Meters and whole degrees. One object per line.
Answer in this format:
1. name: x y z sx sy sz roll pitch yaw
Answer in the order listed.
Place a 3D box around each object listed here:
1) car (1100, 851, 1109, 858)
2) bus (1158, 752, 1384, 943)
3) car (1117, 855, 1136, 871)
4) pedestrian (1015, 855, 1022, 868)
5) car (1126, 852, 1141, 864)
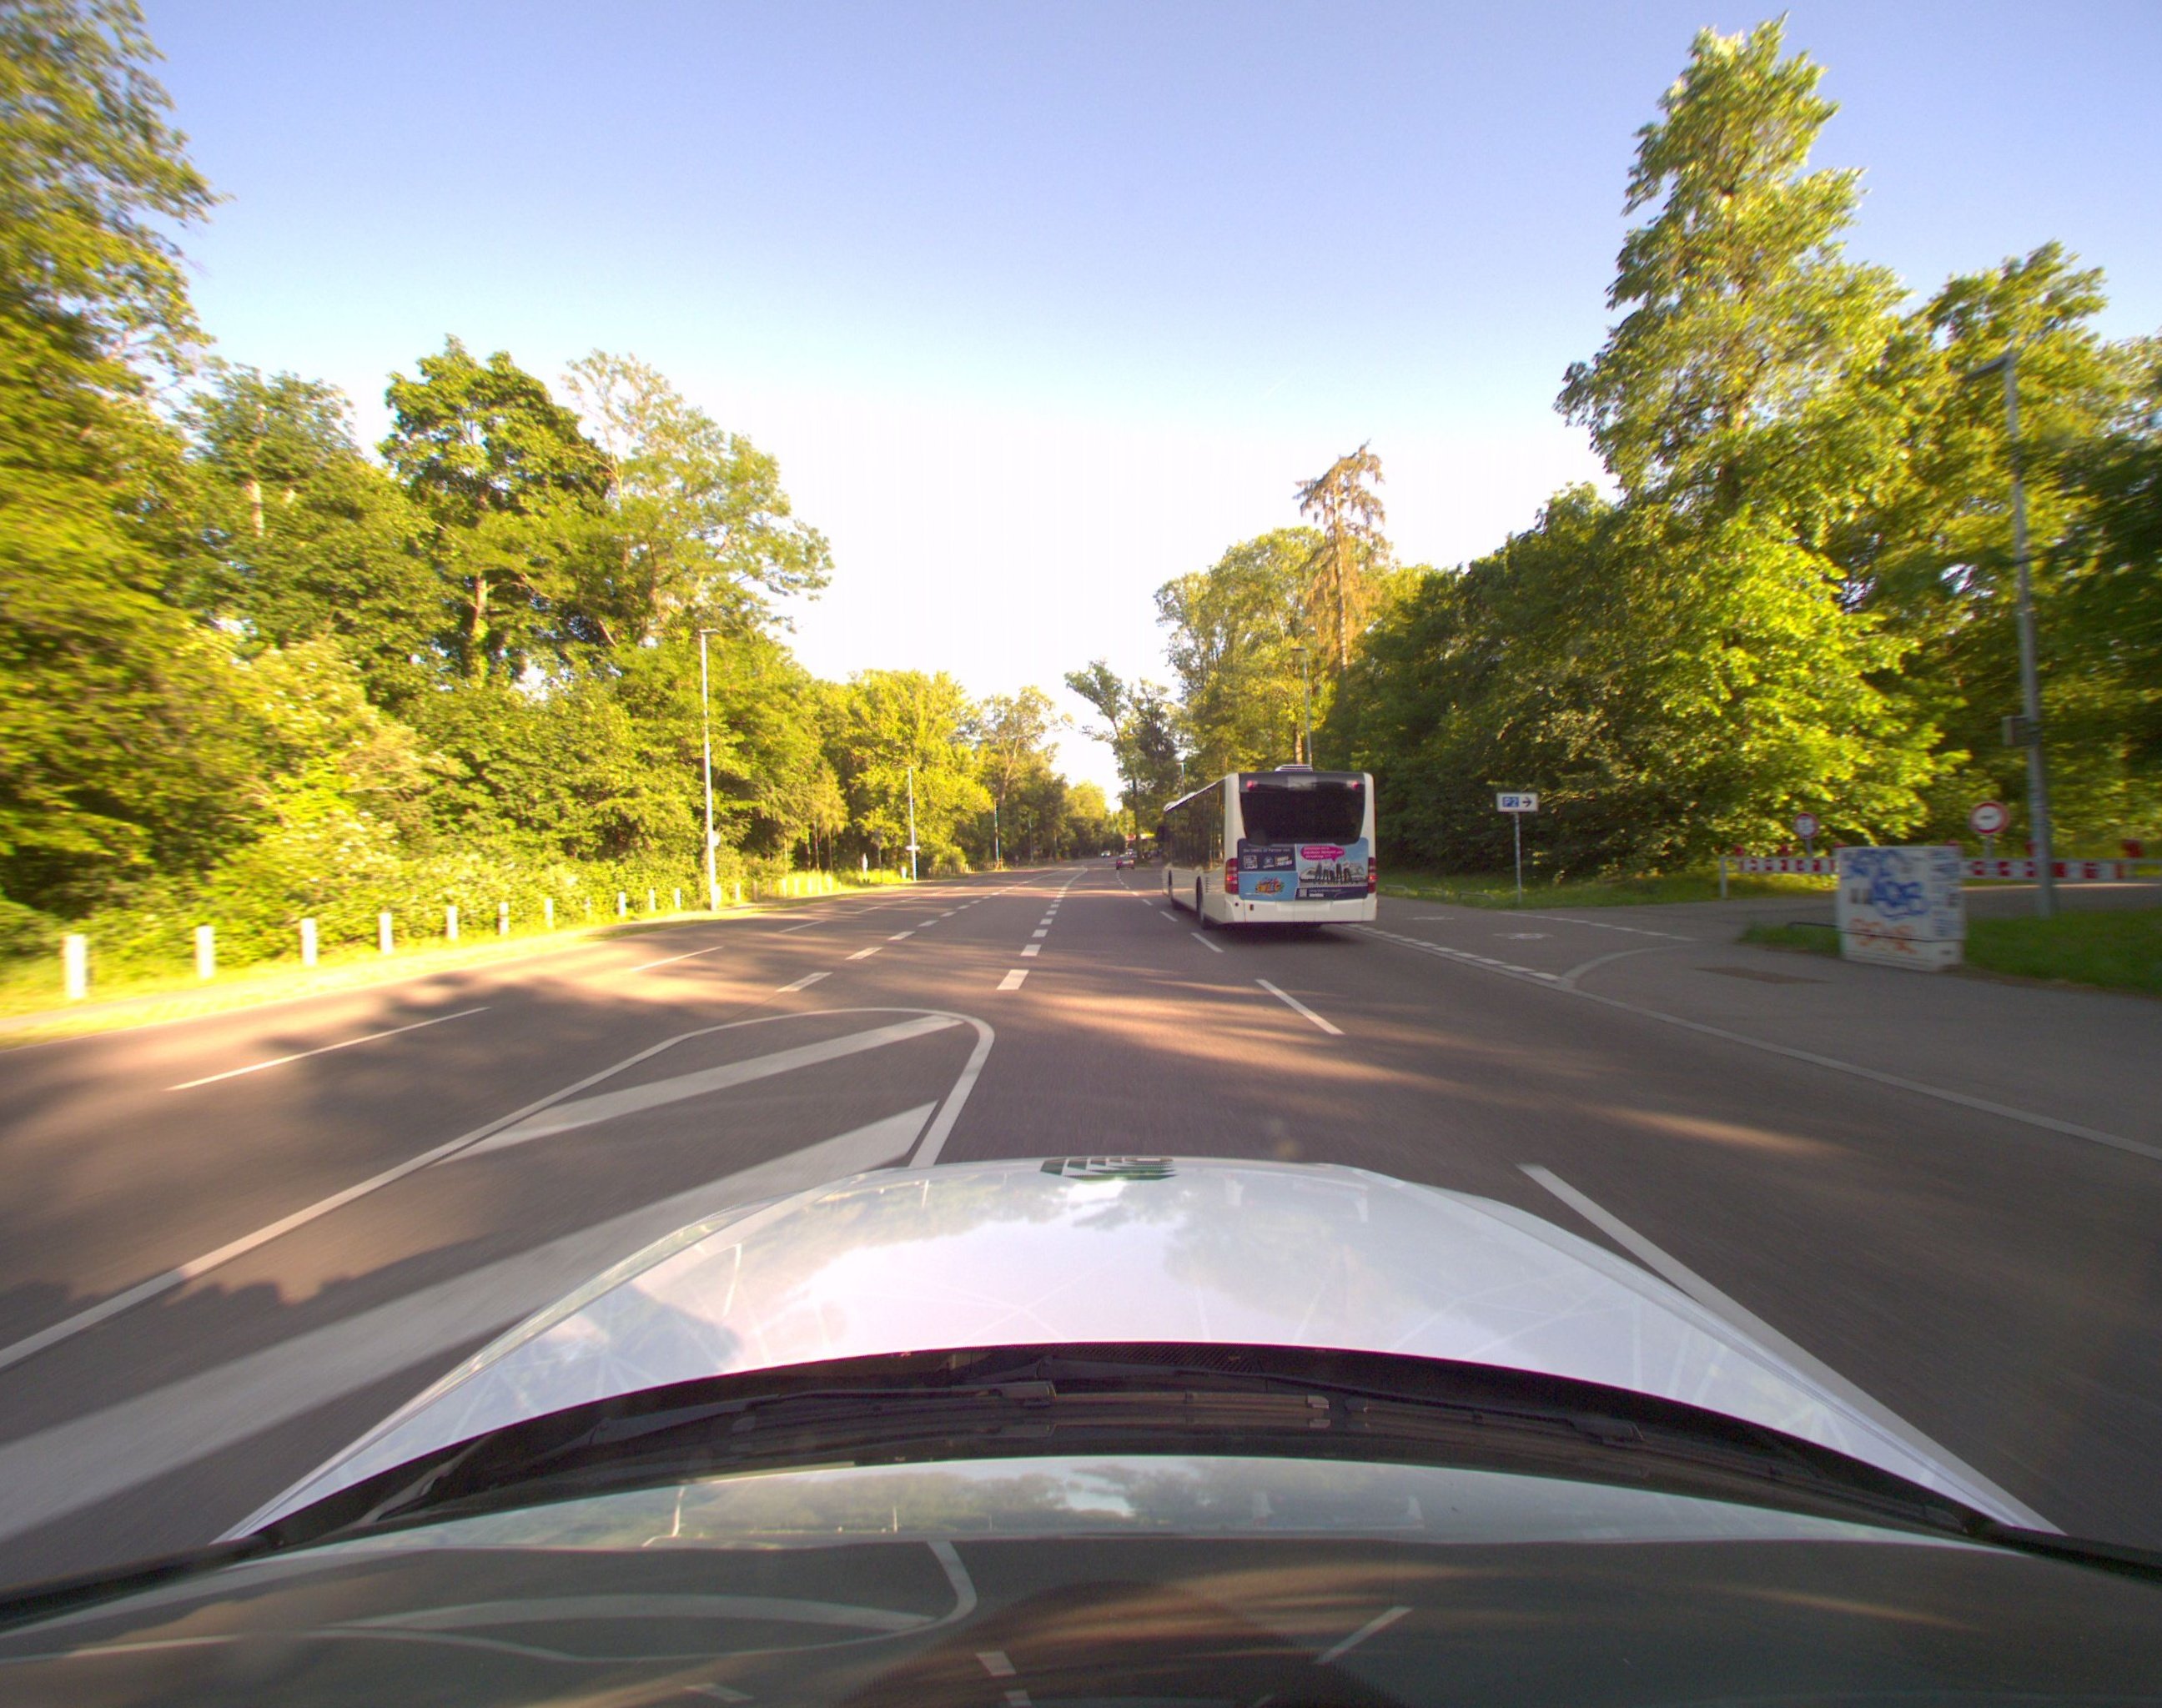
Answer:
1. car: 5.633 0.069 194.952 1.854 1.537 4.138 -1 -1 5
2. bus: 3.627 -0.052 19.178 2.680 3.042 12.042 -1 0 1
3. car: 4.484 0.873 79.983 1.624 1.547 4.138 -1 -1 5
4. pedestrian: -8.777 0.996 114.424 0.776 1.812 0.770 -1 0 1
5. car: 7.640 0.558 117.592 1.621 1.659 4.144 -1 -1 11
